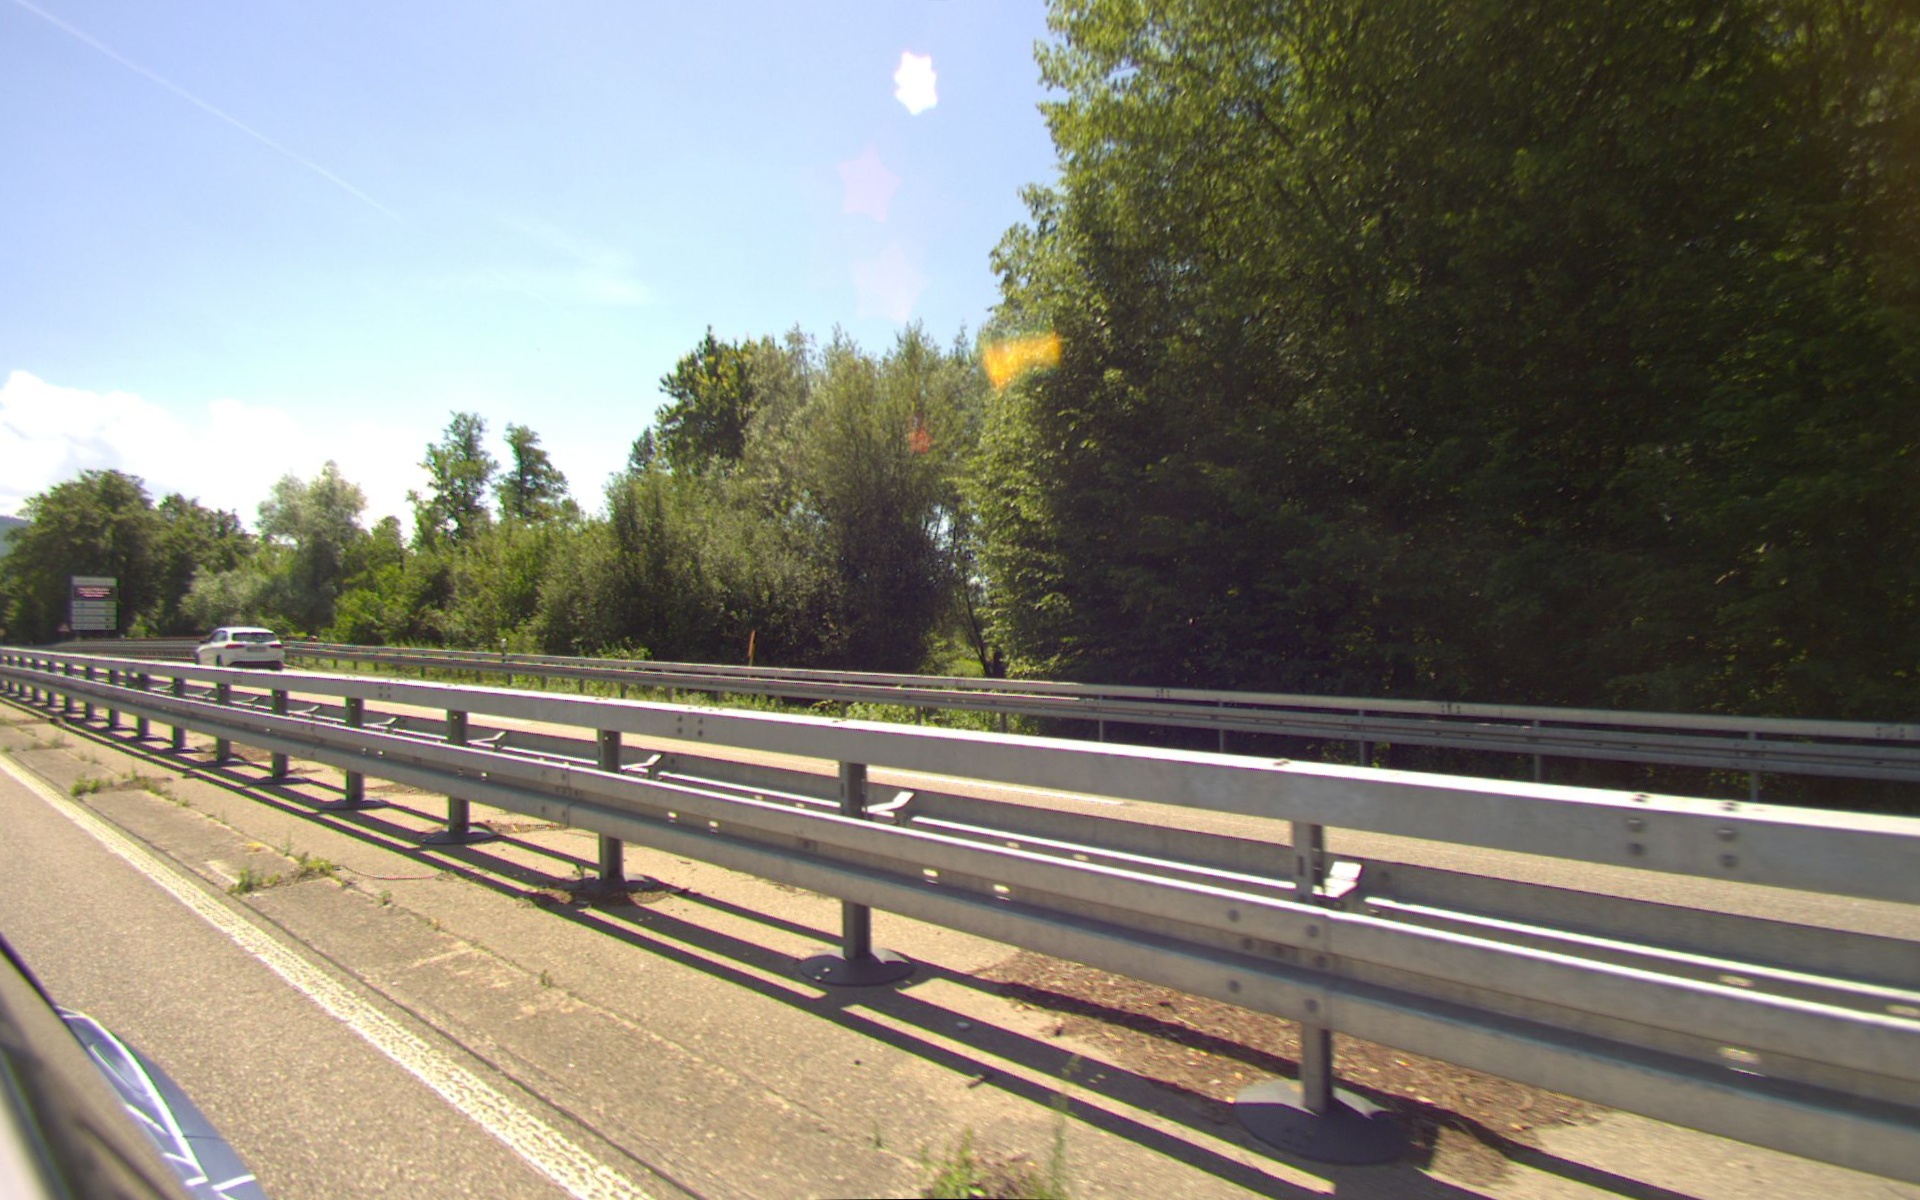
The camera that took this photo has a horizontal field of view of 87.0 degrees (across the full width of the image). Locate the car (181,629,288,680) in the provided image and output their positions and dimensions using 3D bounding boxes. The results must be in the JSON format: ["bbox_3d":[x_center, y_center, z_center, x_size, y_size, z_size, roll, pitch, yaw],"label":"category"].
[{"bbox_3d":[-24.697,1.831,34.398,4.838,1.611,1.799,-2,-4,41],"label":"car"}]
